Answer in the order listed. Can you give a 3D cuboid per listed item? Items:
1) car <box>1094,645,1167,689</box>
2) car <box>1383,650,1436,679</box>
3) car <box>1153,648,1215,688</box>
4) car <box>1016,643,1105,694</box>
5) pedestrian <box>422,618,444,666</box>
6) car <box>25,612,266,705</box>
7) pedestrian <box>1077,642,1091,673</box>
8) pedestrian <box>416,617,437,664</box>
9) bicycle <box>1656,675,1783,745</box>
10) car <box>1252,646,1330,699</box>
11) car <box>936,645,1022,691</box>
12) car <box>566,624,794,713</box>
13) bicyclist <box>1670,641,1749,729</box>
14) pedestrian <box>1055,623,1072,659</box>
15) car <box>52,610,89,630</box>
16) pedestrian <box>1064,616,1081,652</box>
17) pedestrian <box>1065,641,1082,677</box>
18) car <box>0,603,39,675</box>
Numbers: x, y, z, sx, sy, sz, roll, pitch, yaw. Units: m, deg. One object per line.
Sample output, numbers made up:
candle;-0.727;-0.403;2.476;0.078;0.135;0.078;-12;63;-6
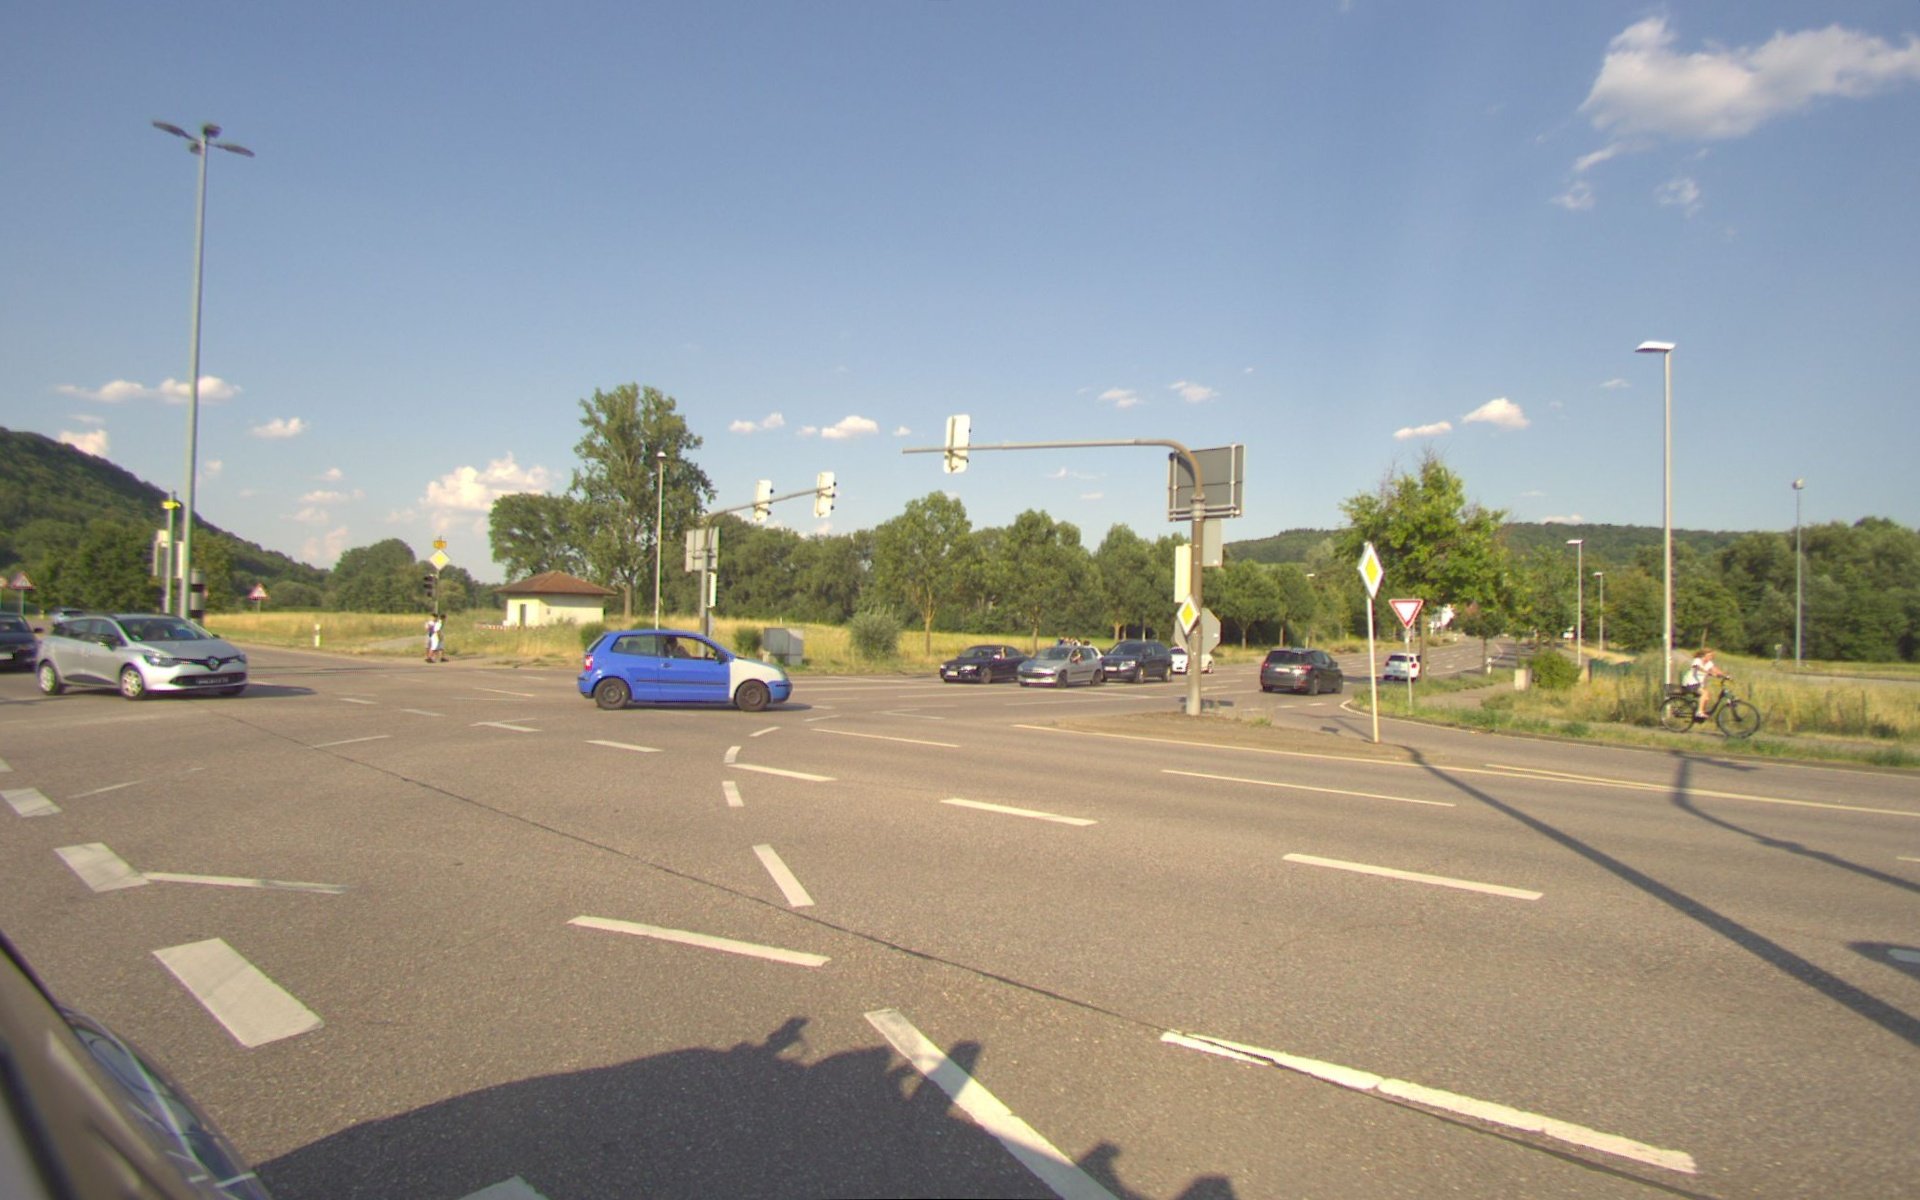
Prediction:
car;6.678;2.560;39.400;1.759;1.431;3.844;0;0;27
car;23.089;3.293;51.931;1.765;1.378;3.703;0;-2;36
car;11.607;3.474;52.283;1.746;1.785;3.952;0;0;35
car;3.491;2.270;34.486;1.759;1.431;3.844;0;0;27
pedestrian;-18.253;1.429;35.048;0.645;1.618;0.892;0;0;-27
car;-14.456;0.962;17.943;4.167;1.488;1.747;0;-1;26
pedestrian;7.268;3.376;59.179;0.718;1.771;0.691;0;0;18
pedestrian;-18.898;1.413;35.834;0.645;1.618;0.839;0;0;-27
bicycle;13.630;1.947;18.237;0.698;1.047;1.938;0;0;-6
car;12.077;2.597;36.752;1.918;1.703;4.116;2;-2;29
car;0.753;2.421;36.607;1.628;1.370;3.844;0;0;27
car;-5.078;1.236;18.583;3.827;1.511;1.697;2;-2;-15
bicyclist;13.597;1.525;18.380;0.713;1.512;0.921;0;0;-5
pedestrian;5.964;2.325;58.253;0.724;2.029;0.685;0;0;43
car;-69.053;1.531;78.533;4.144;1.445;1.690;0;-3;43
pedestrian;6.399;1.909;57.550;0.722;2.029;0.687;0;0;35
pedestrian;6.464;3.353;57.665;0.724;2.029;0.685;0;0;43
car;-23.242;0.884;24.103;4.000;1.586;1.596;0;0;43
